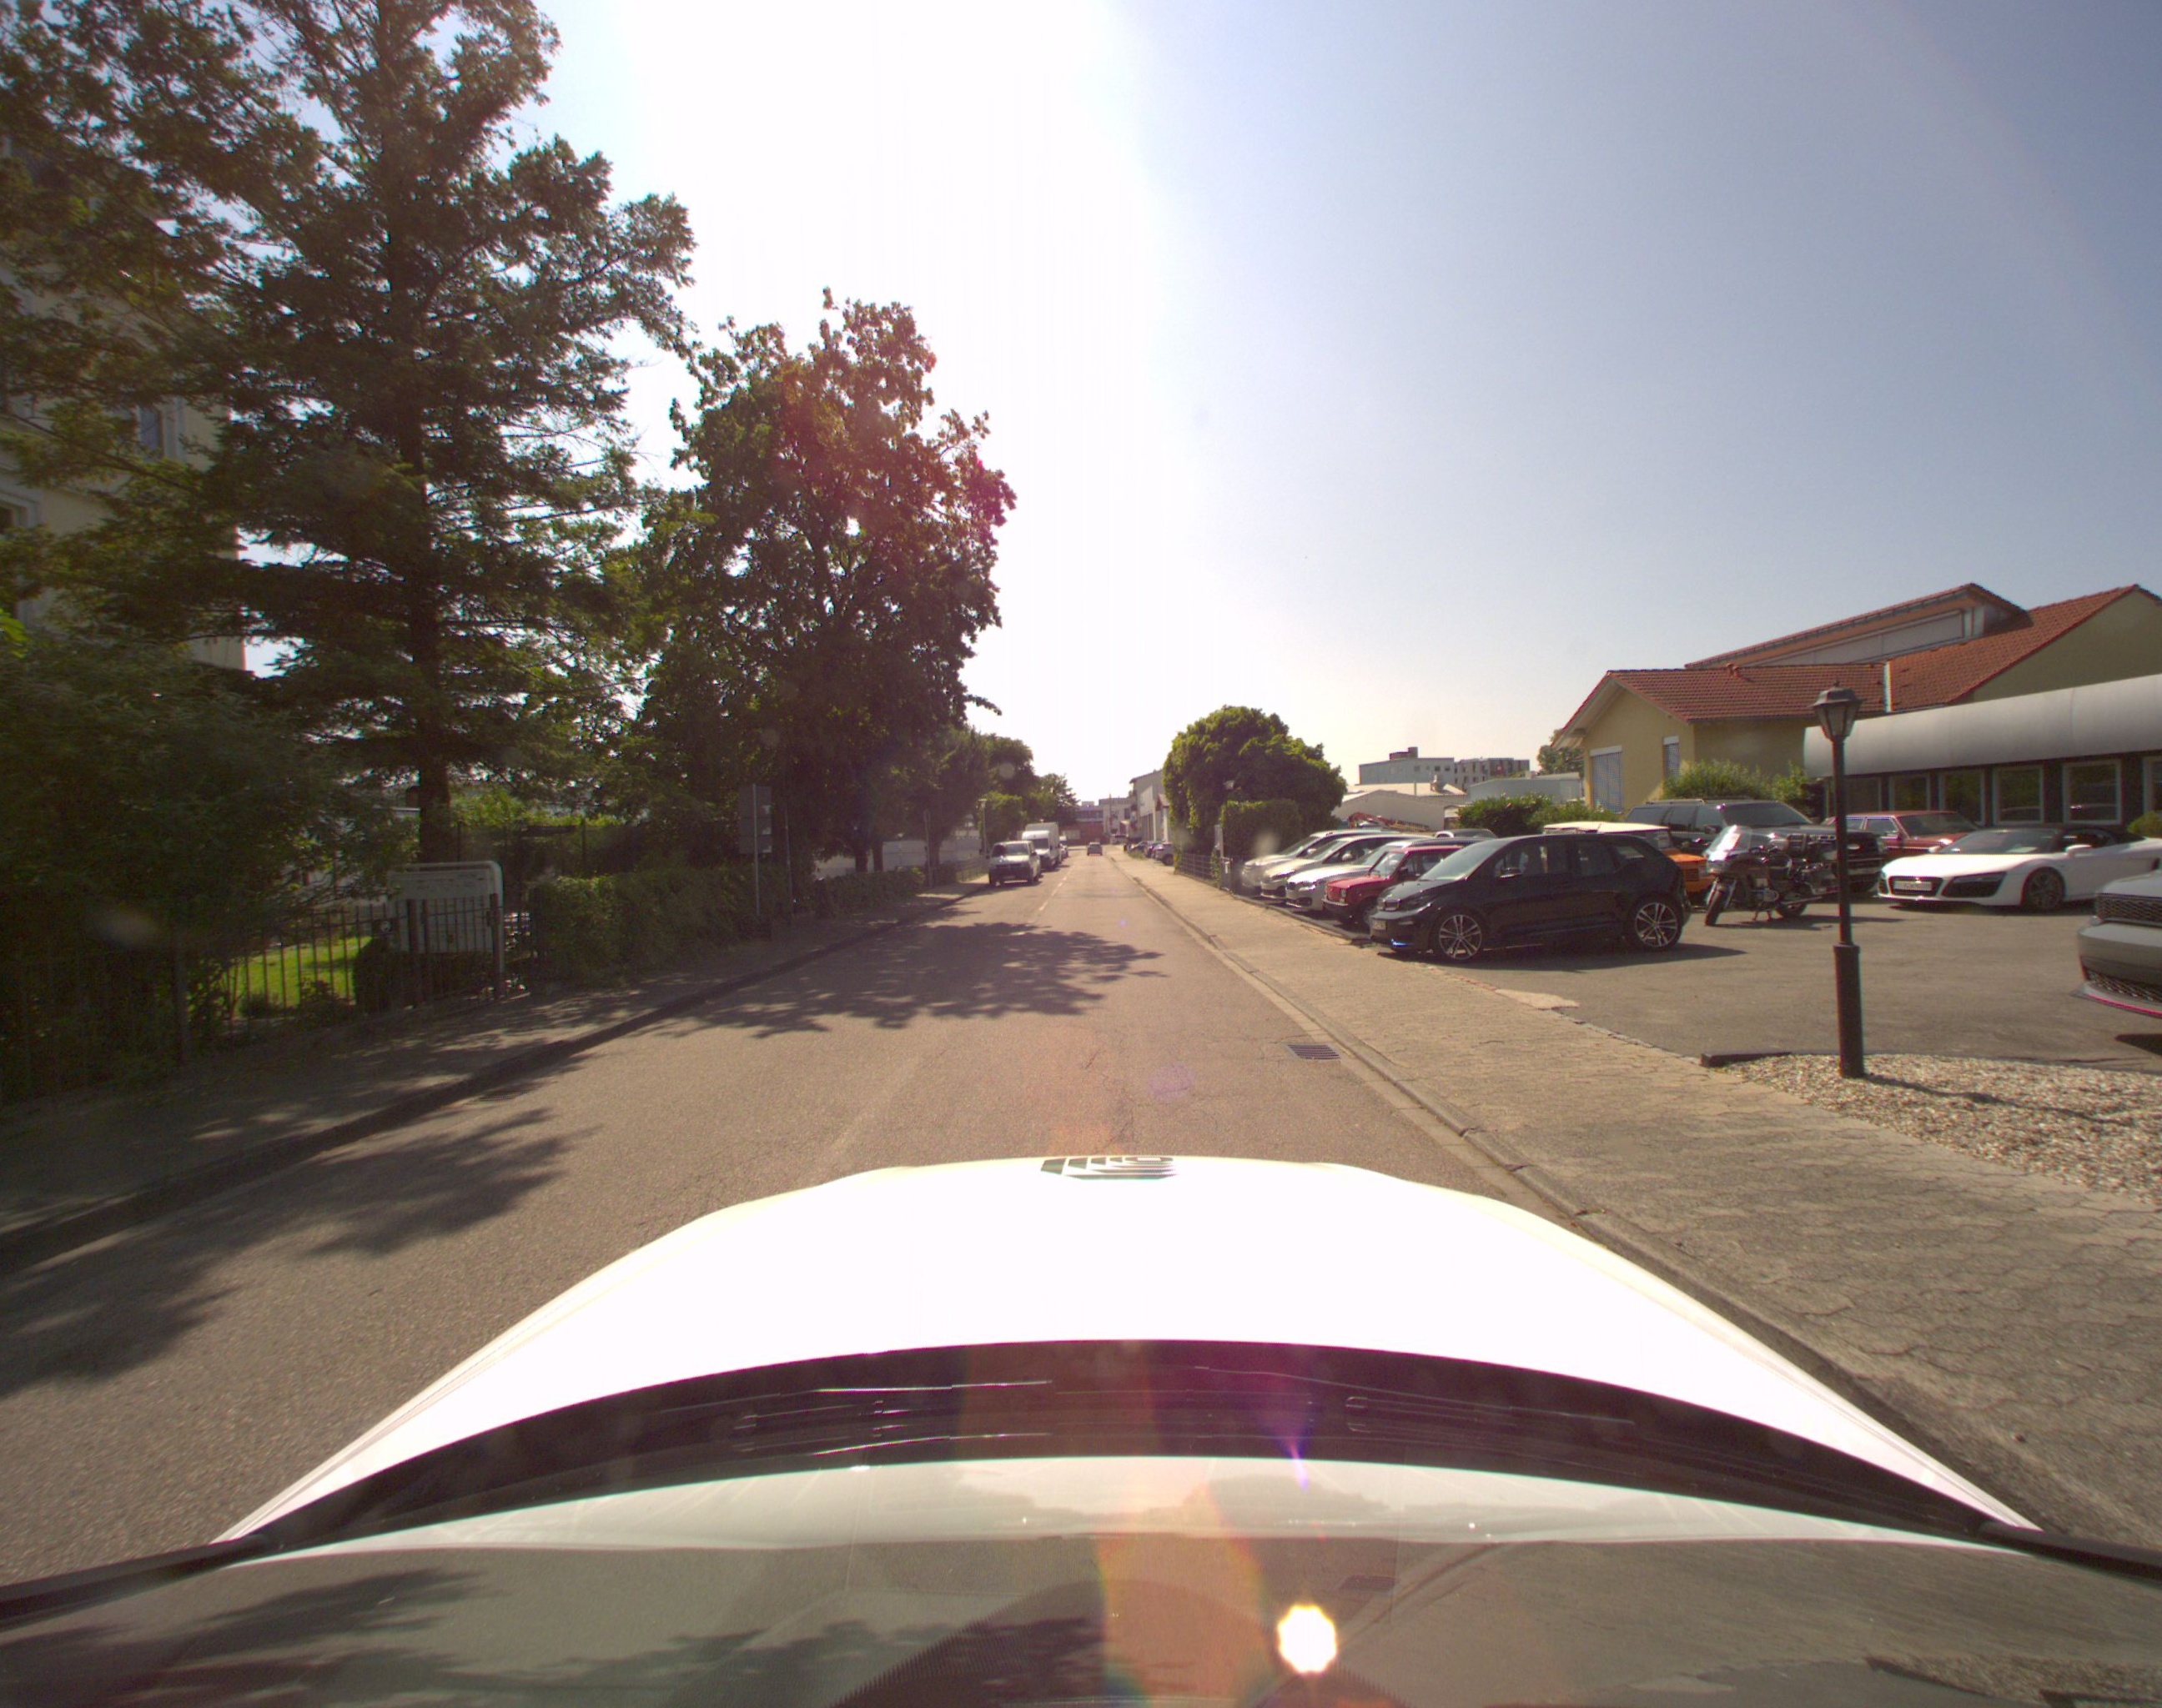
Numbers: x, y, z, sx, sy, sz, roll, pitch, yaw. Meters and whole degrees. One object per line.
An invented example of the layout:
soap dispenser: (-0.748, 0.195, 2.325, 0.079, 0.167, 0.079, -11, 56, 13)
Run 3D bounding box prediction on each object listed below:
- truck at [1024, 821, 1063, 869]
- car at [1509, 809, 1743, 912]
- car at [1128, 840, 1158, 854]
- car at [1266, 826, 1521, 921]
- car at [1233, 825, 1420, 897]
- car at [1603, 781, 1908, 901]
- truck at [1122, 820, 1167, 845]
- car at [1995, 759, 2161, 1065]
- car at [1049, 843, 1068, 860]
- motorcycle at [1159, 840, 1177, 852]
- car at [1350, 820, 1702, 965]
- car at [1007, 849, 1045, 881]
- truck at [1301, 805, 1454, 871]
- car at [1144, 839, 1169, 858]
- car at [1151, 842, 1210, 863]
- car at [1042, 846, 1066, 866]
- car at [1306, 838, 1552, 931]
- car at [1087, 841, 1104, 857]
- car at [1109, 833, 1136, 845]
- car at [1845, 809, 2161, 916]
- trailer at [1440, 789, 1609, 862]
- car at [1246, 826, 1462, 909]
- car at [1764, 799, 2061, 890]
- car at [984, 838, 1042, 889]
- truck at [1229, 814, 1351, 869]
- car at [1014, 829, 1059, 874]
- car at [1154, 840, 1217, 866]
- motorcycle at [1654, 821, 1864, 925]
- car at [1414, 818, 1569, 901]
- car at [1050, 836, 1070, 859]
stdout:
truck: (-2.874, -0.698, 62.771, 2.678, 3.366, 7.124, -3, 0, -2)
car: (10.662, 0.096, 16.366, 1.987, 1.728, 3.999, -2, 0, 0)
car: (7.118, -0.833, 93.509, 3.242, 1.398, 1.674, -3, 1, 1)
car: (6.242, 0.367, 16.566, 4.396, 1.497, 1.894, -4, 0, -5)
car: (6.436, 0.173, 21.682, 4.391, 1.653, 1.842, -2, 0, -2)
car: (13.488, -0.247, 16.820, 1.990, 2.013, 4.900, -3, 0, -4)
truck: (11.307, -3.785, 144.674, 7.349, 3.644, 2.763, -5, 2, -6)
car: (8.709, 0.236, 4.189, 4.934, 1.762, 1.937, -2, 0, 26)
car: (-2.401, -0.299, 86.605, 1.701, 1.624, 3.968, -4, 1, -4)
motorcycle: (9.966, -0.919, 93.222, 1.748, 1.279, 0.794, -4, 1, -9)
car: (5.872, 0.473, 11.068, 3.792, 1.624, 1.759, -3, 0, -1)
car: (-2.908, 0.543, 44.065, 1.709, 1.543, 4.399, -4, 0, -1)
truck: (17.969, -0.967, 49.815, 8.241, 3.611, 2.956, -2, 1, 3)
car: (7.007, -0.556, 76.350, 1.852, 1.567, 4.951, -3, 1, 0)
car: (7.670, -0.132, 62.952, 4.339, 1.441, 1.892, -3, 1, -1)
car: (-2.271, 0.118, 69.370, 1.735, 1.521, 4.312, -3, 1, 1)
car: (5.906, 0.496, 14.083, 3.539, 1.335, 1.558, -3, 0, -1)
car: (1.629, -0.565, 95.232, 1.884, 1.685, 3.958, -2, 0, 0)
car: (7.857, -2.776, 153.101, 4.668, 1.957, 1.904, -3, 1, -19)
car: (14.935, 0.086, 12.867, 4.111, 1.318, 1.946, -4, 1, -6)
trailer: (26.571, -1.671, 49.144, 8.292, 3.862, 3.073, -2, 0, 5)
car: (6.352, 0.292, 19.246, 4.396, 1.527, 1.894, -4, 0, -5)
car: (17.065, -0.189, 17.050, 1.990, 1.596, 3.994, -3, 0, -5)
car: (-3.002, 0.370, 36.890, 1.964, 2.013, 5.057, -4, 0, 1)
truck: (13.775, -0.830, 54.097, 7.492, 3.423, 2.527, 1, 1, 0)
car: (-2.807, -0.148, 52.877, 2.160, 2.595, 6.923, -4, 0, 2)
car: (7.274, -0.077, 56.826, 4.188, 1.682, 1.766, 1, 1, -1)
motorcycle: (10.585, 0.268, 12.752, 2.682, 1.433, 1.007, -3, 0, -11)
car: (10.168, 0.131, 20.534, 1.987, 1.860, 3.788, -1, 0, 0)
car: (-2.379, -0.800, 91.776, 2.000, 2.366, 5.227, -5, 1, -1)
